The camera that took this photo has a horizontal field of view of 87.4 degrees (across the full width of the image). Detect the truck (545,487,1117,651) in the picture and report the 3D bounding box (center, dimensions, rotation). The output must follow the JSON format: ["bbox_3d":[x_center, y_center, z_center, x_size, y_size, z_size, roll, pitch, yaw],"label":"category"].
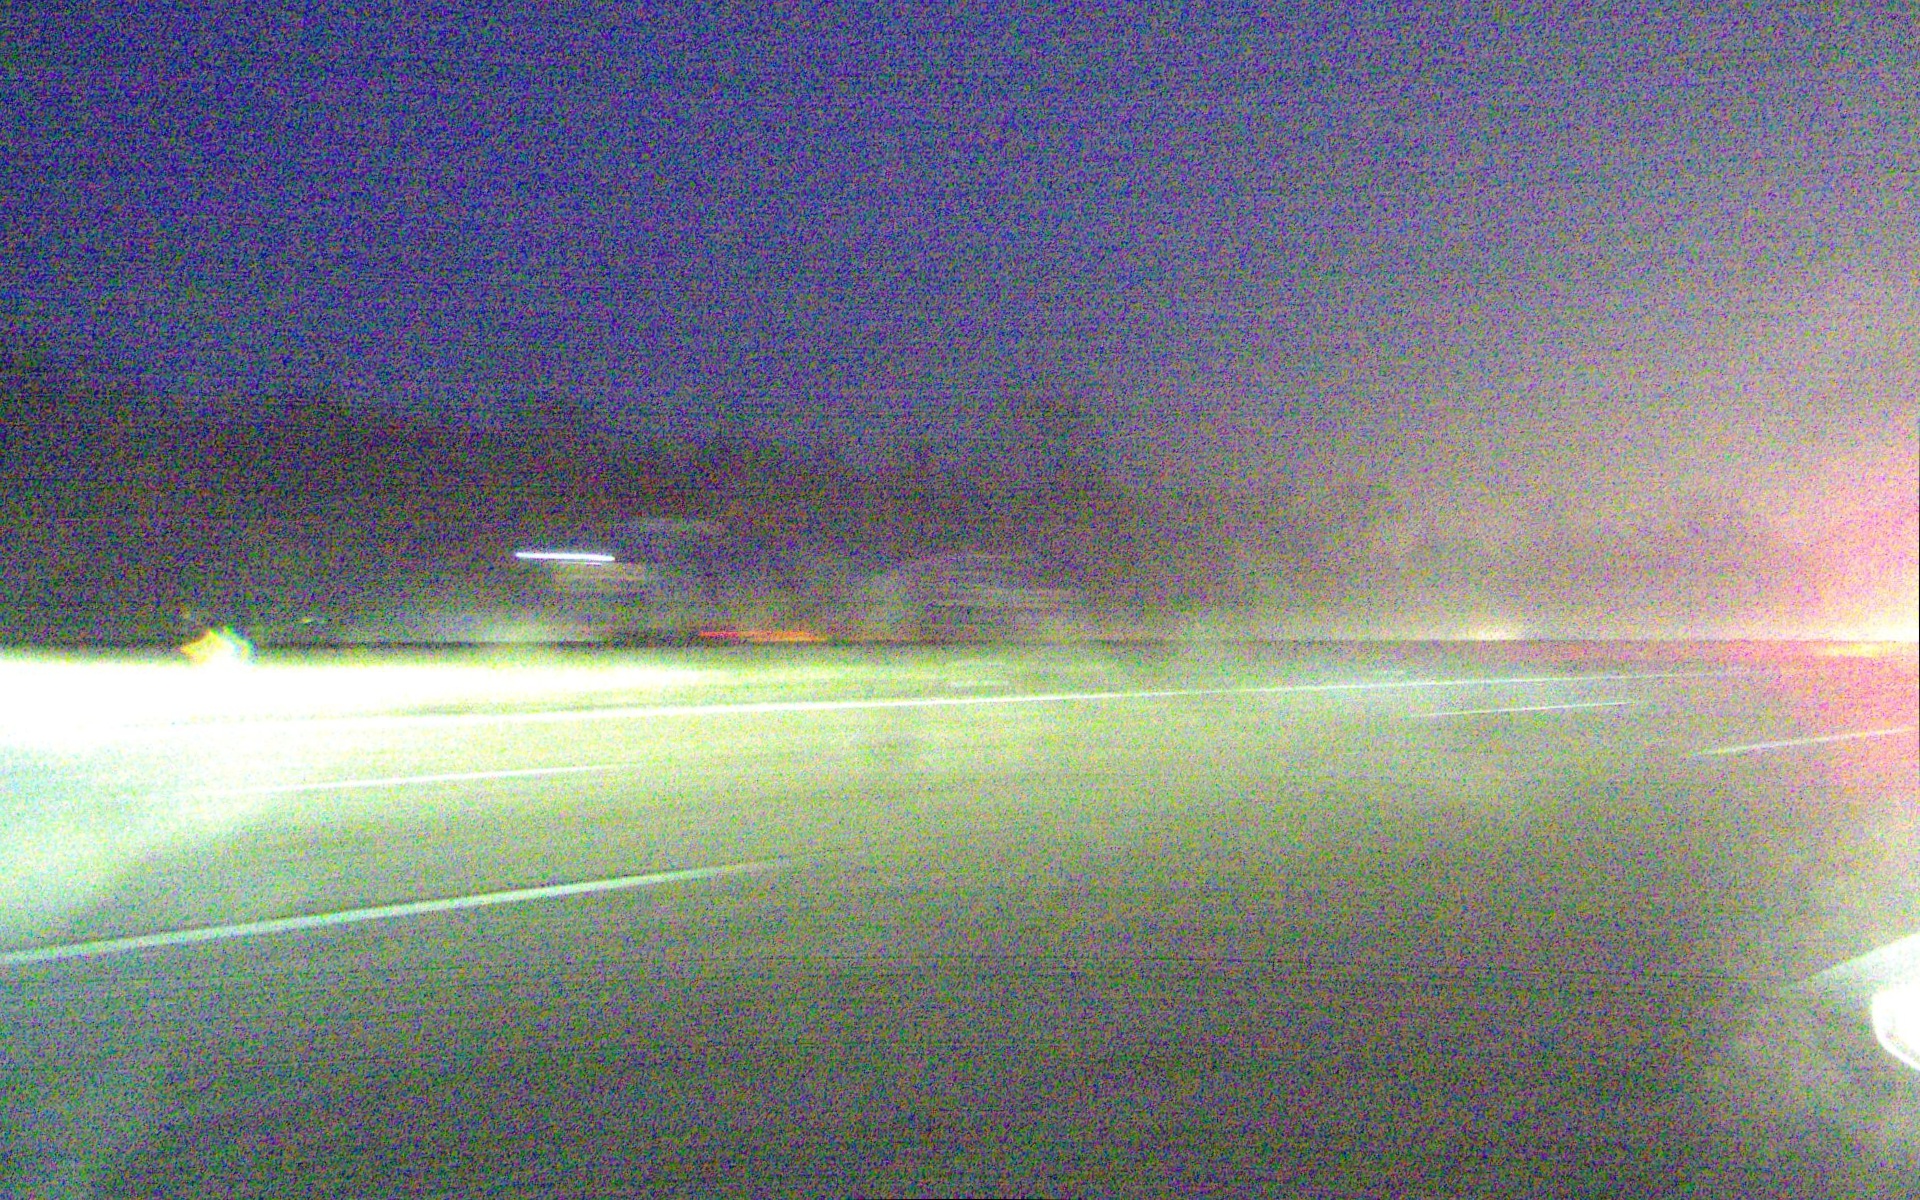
[{"bbox_3d":[-3.091,-0.568,30.147,16.978,3.940,3.483,2,0,-30],"label":"truck"}]

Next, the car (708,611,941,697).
[{"bbox_3d":[-2.778,1.096,20.895,4.409,1.578,1.870,2,0,-31],"label":"car"}]
